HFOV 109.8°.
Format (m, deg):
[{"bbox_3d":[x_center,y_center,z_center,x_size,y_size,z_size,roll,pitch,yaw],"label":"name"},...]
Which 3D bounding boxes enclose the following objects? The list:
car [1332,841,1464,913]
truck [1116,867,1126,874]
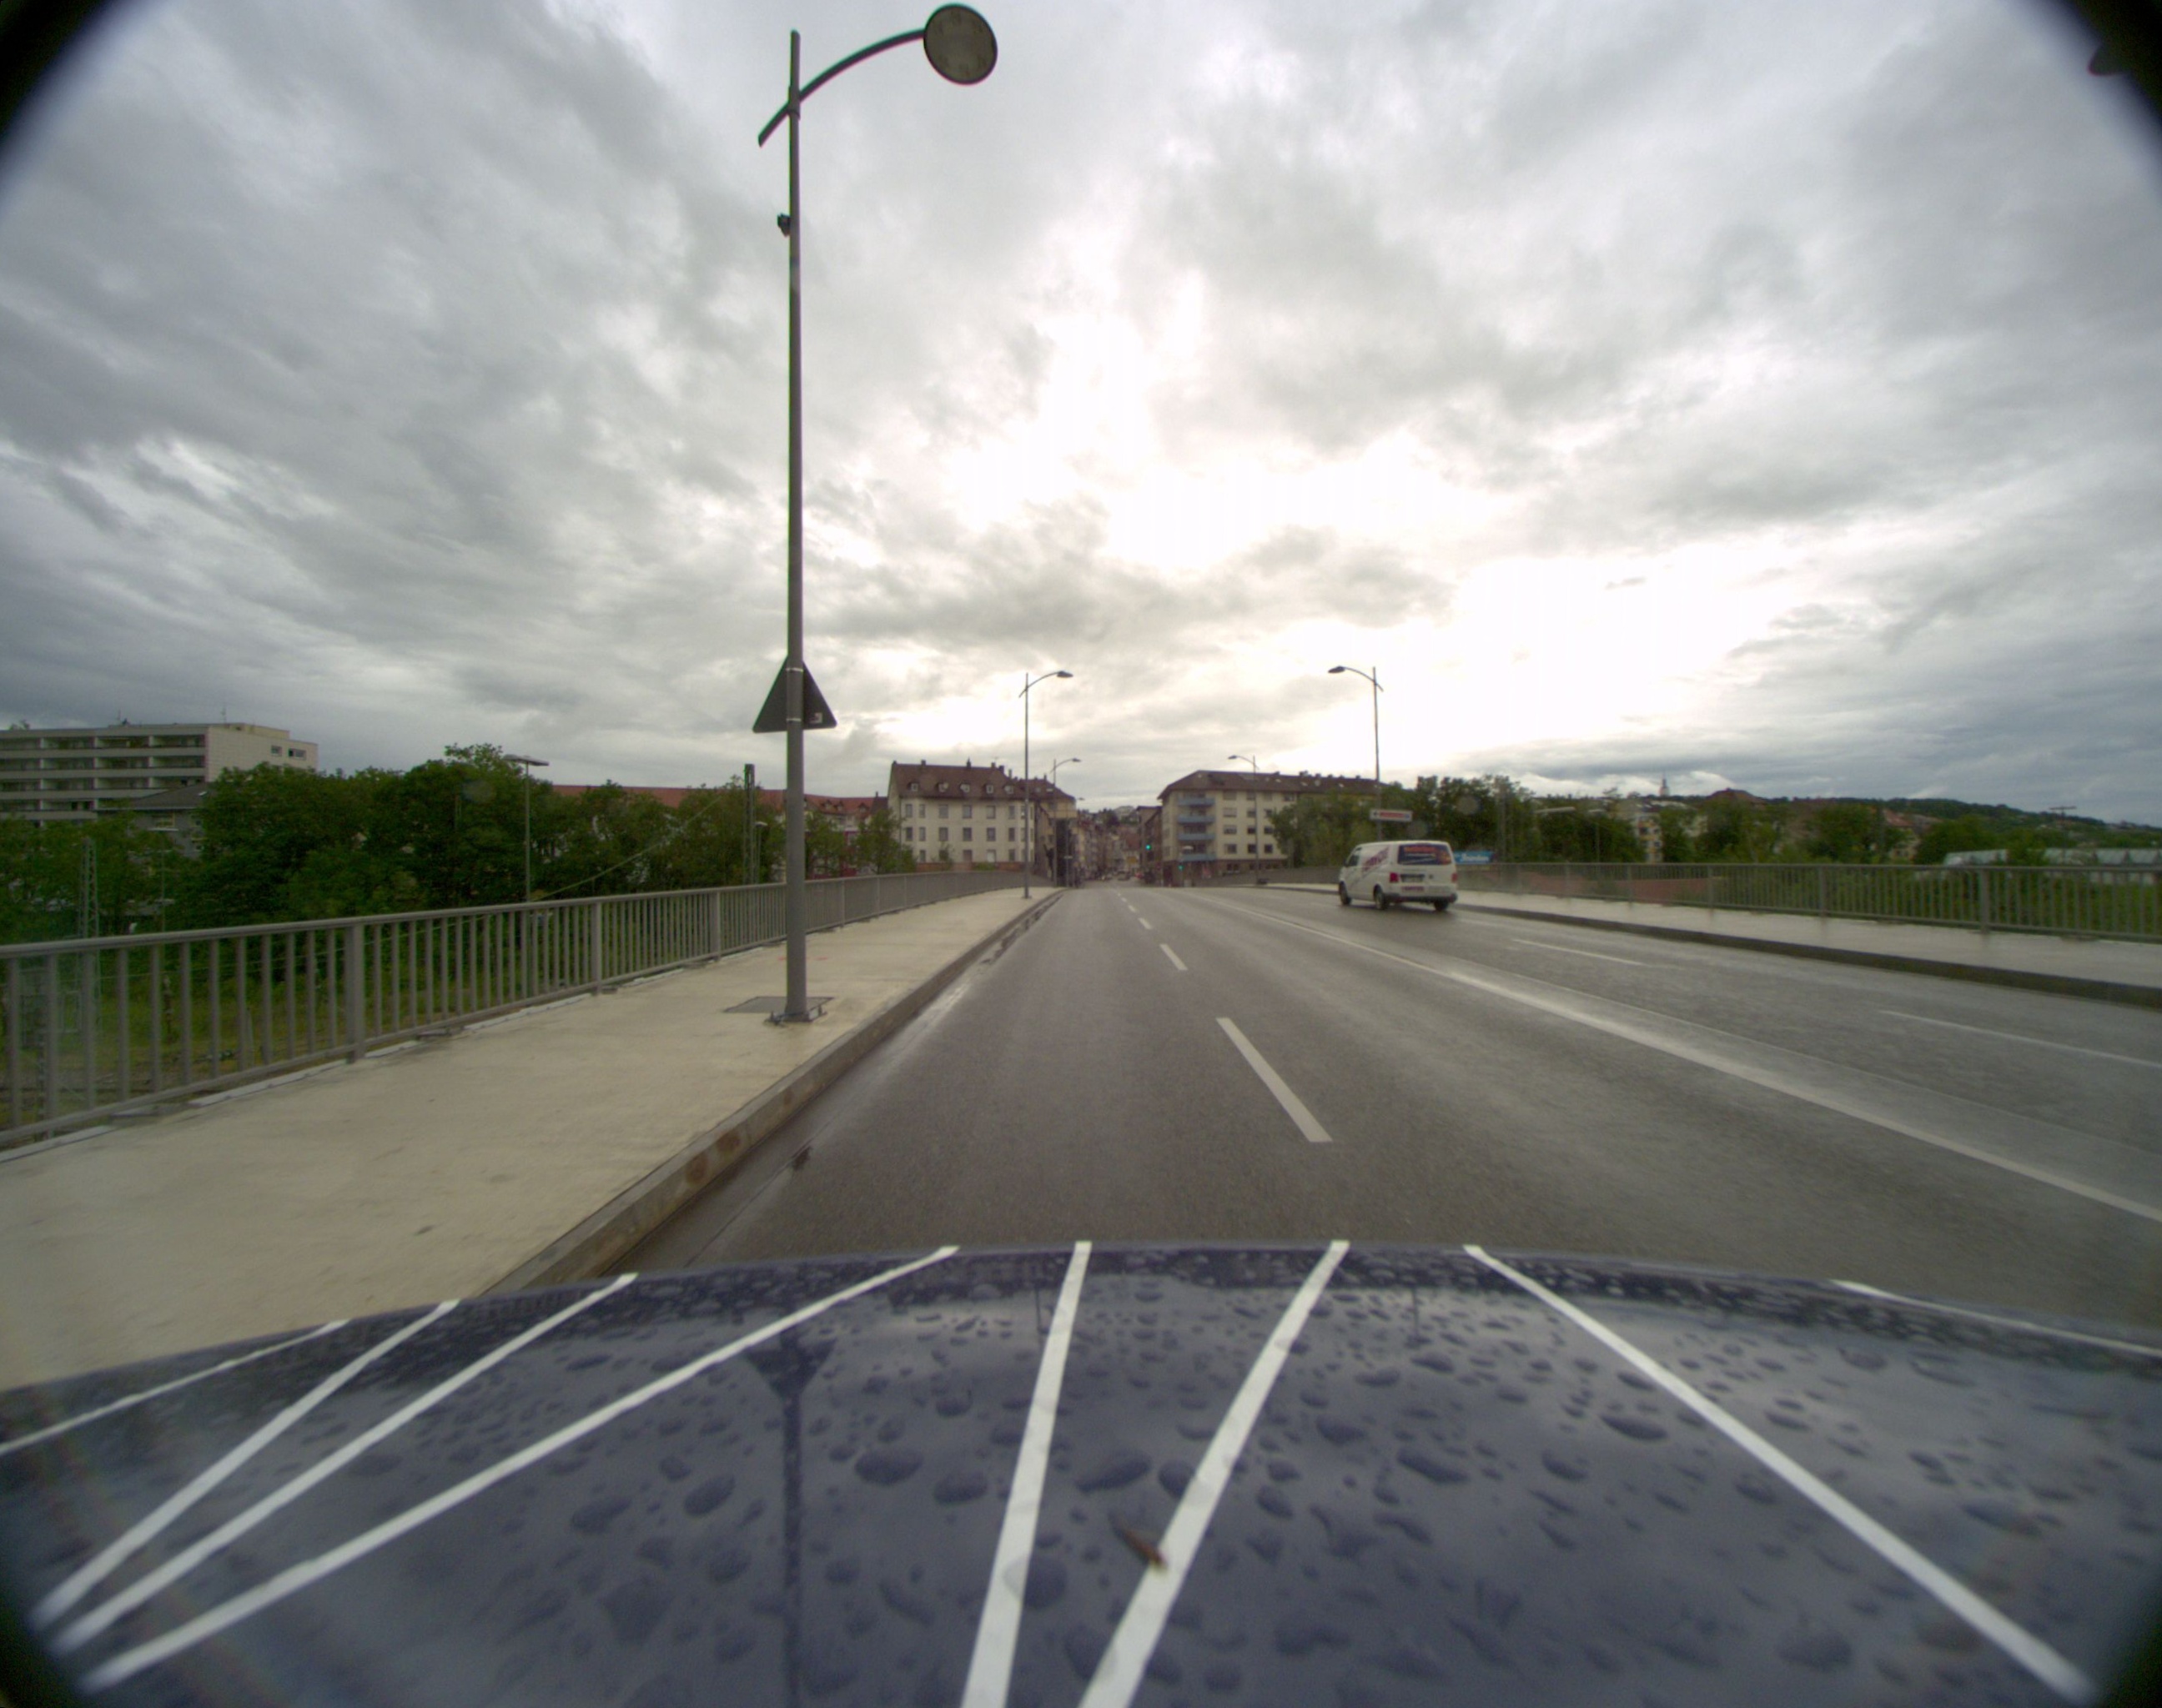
[{"bbox_3d":[9.109,0.589,22.336,1.891,1.811,4.958,-2,0,2],"label":"car"},{"bbox_3d":[11.332,4.712,215.112,2.475,2.001,4.821,-2,-1,1],"label":"truck"}]
